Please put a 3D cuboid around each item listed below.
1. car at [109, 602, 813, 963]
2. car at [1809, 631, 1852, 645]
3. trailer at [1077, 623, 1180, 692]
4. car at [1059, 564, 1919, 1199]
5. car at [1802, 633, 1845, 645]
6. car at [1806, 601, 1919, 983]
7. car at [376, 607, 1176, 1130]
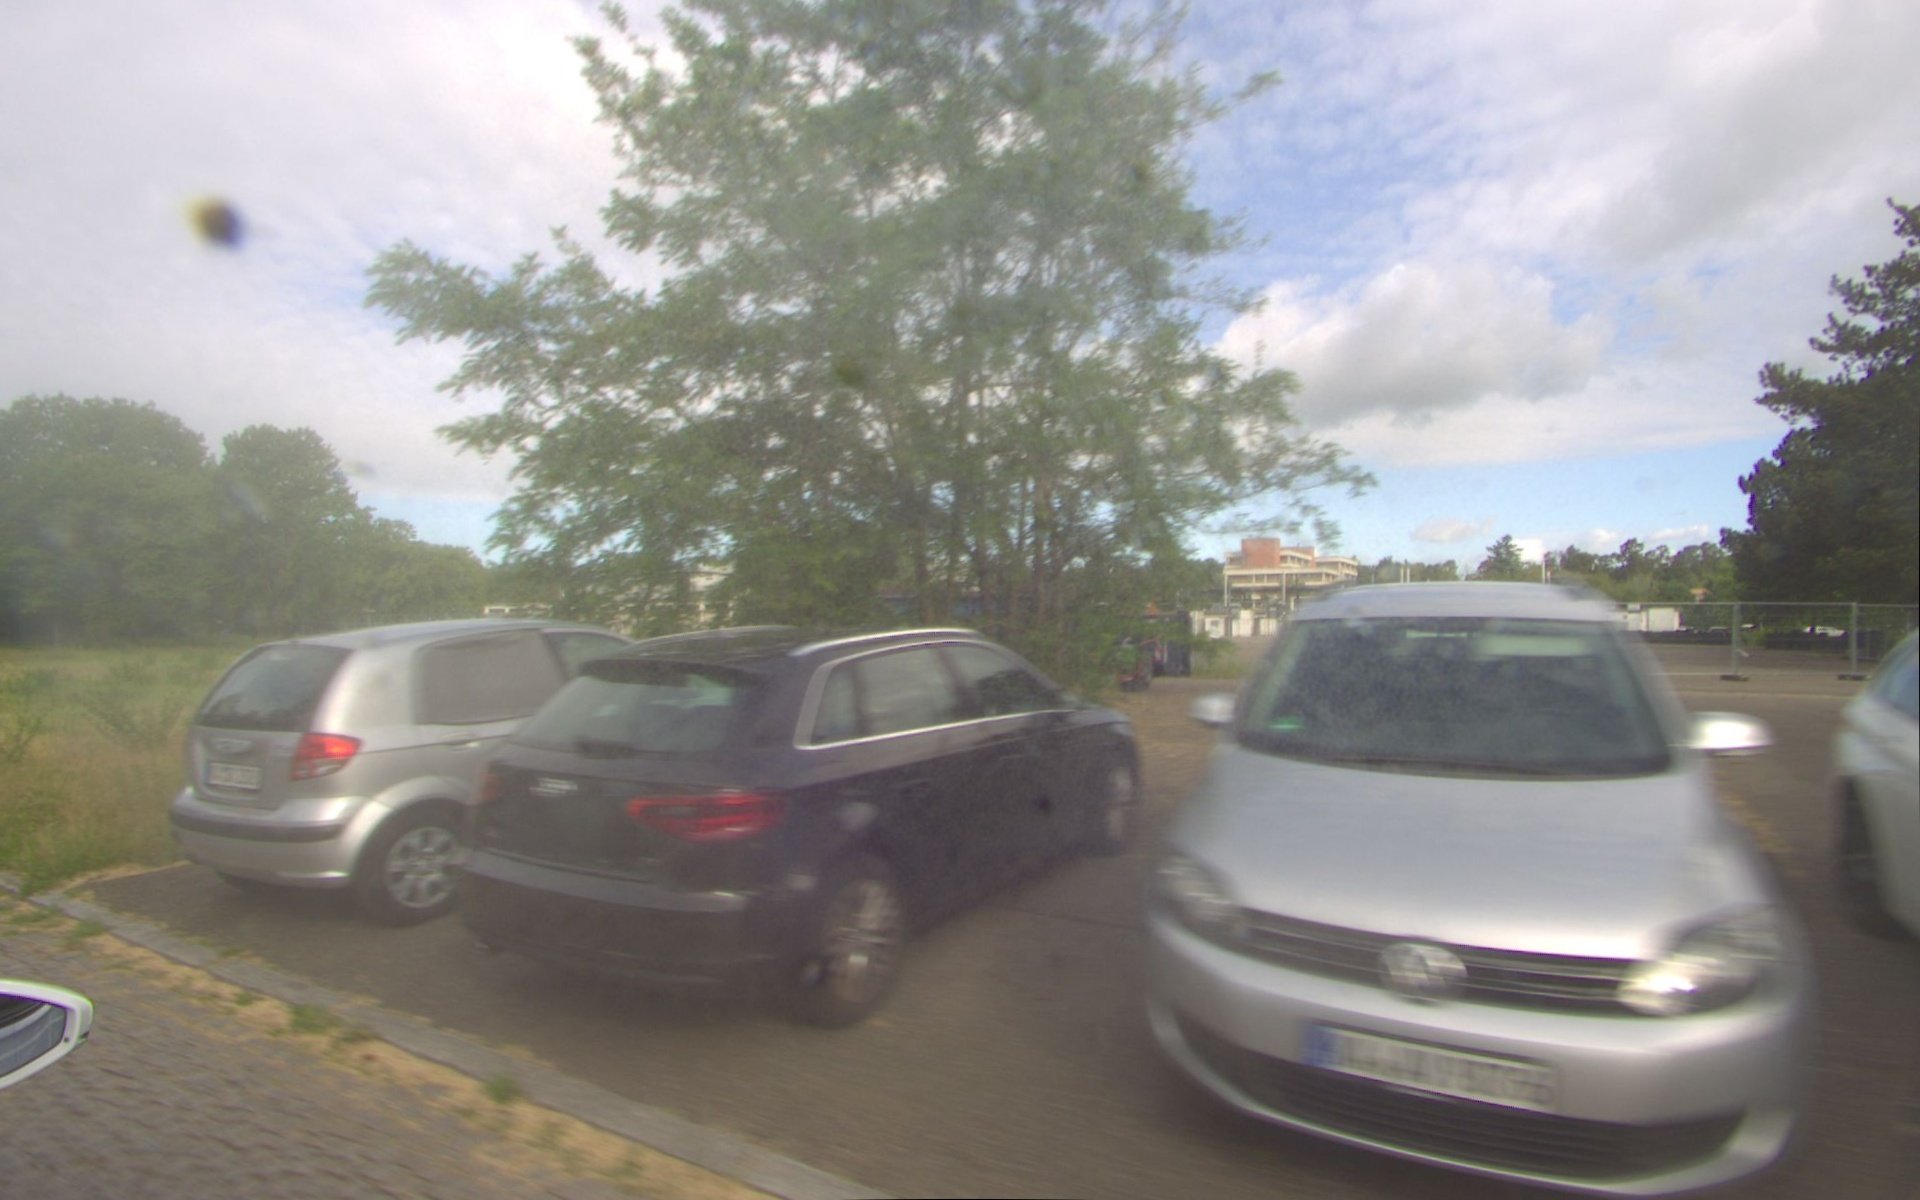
[{"bbox_3d":[-2.789,0.814,6.490,1.716,1.500,3.766,0,2,29],"label":"car"},{"bbox_3d":[113.214,4.945,130.250,4.026,1.862,1.775,-1,-1,34],"label":"car"},{"bbox_3d":[3.146,1.055,18.489,1.127,1.184,2.311,-1,-3,30],"label":"trailer"},{"bbox_3d":[2.042,0.703,4.216,1.798,1.596,4.326,-1,1,26],"label":"car"},{"bbox_3d":[114.099,5.153,132.360,4.026,1.595,1.776,-1,-1,34],"label":"car"},{"bbox_3d":[4.190,0.767,2.859,1.799,1.444,4.543,-1,1,28],"label":"car"},{"bbox_3d":[-0.392,0.818,5.308,1.769,1.425,4.358,0,2,30],"label":"car"}]
